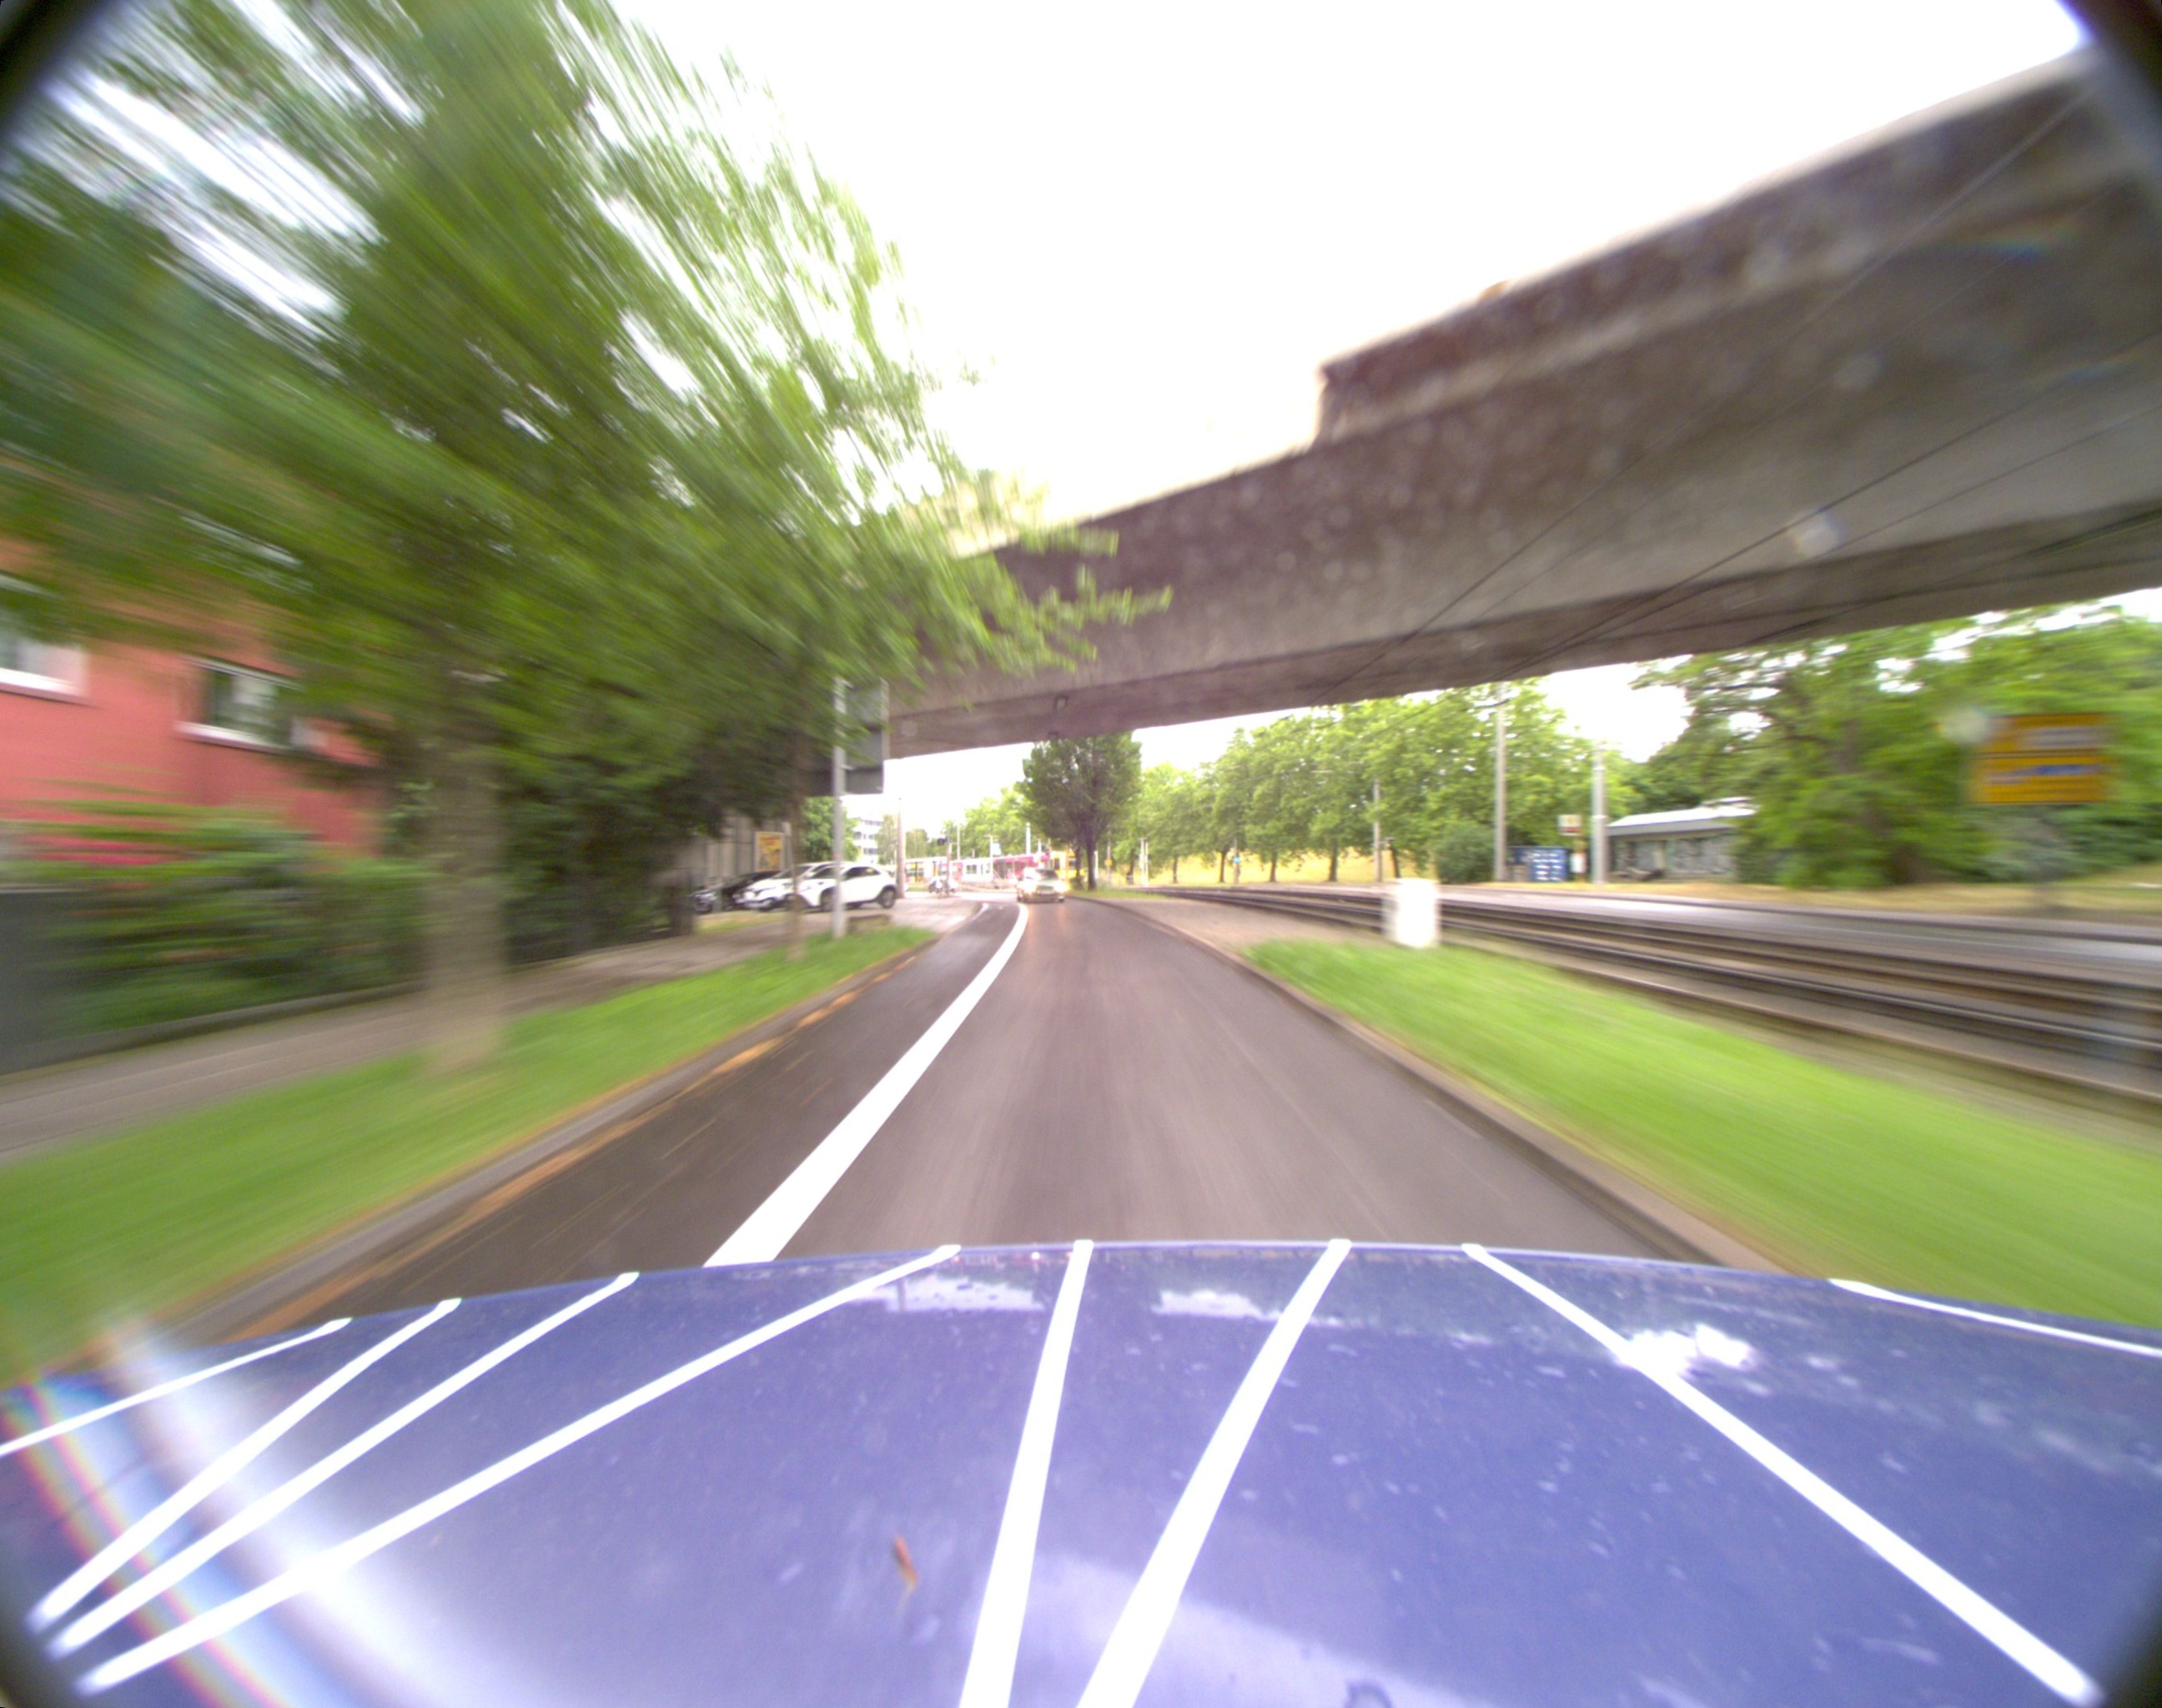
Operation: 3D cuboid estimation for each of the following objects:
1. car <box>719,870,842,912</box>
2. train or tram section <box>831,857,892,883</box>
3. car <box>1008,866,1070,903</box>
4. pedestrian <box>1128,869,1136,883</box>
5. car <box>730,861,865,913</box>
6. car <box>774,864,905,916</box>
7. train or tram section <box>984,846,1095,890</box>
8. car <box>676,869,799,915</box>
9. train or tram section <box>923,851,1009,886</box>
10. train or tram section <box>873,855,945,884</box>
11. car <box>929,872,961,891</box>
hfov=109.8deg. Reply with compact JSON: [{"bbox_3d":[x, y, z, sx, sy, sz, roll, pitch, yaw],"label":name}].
[{"bbox_3d":[-11.273,1.361,28.798,1.782,1.431,4.058,-2,-1,31],"label":"car"},{"bbox_3d":[-36.922,2.797,126.840,2.882,3.949,19.281,-3,0,-37],"label":"train or tram section"},{"bbox_3d":[-1.886,1.306,32.850,1.783,1.492,3.995,1,-2,-16],"label":"car"},{"bbox_3d":[6.335,2.763,94.951,0.731,1.810,0.763,-1,-1,-16],"label":"pedestrian"},{"bbox_3d":[-9.720,1.087,26.344,1.962,1.621,4.032,-2,-1,31],"label":"car"},{"bbox_3d":[-7.680,1.104,24.455,1.798,1.513,3.744,-2,-1,31],"label":"car"},{"bbox_3d":[-4.864,1.473,78.574,2.881,3.937,19.287,-3,0,-30],"label":"train or tram section"},{"bbox_3d":[-13.661,1.490,30.435,1.900,1.562,4.007,-2,0,34],"label":"car"},{"bbox_3d":[-14.823,1.885,95.219,2.882,3.947,19.285,-3,0,-32],"label":"train or tram section"},{"bbox_3d":[-25.495,2.326,111.265,2.882,3.931,19.283,-3,0,-35],"label":"train or tram section"},{"bbox_3d":[-11.876,2.360,66.255,1.784,1.493,3.992,-1,0,-25],"label":"car"}]
